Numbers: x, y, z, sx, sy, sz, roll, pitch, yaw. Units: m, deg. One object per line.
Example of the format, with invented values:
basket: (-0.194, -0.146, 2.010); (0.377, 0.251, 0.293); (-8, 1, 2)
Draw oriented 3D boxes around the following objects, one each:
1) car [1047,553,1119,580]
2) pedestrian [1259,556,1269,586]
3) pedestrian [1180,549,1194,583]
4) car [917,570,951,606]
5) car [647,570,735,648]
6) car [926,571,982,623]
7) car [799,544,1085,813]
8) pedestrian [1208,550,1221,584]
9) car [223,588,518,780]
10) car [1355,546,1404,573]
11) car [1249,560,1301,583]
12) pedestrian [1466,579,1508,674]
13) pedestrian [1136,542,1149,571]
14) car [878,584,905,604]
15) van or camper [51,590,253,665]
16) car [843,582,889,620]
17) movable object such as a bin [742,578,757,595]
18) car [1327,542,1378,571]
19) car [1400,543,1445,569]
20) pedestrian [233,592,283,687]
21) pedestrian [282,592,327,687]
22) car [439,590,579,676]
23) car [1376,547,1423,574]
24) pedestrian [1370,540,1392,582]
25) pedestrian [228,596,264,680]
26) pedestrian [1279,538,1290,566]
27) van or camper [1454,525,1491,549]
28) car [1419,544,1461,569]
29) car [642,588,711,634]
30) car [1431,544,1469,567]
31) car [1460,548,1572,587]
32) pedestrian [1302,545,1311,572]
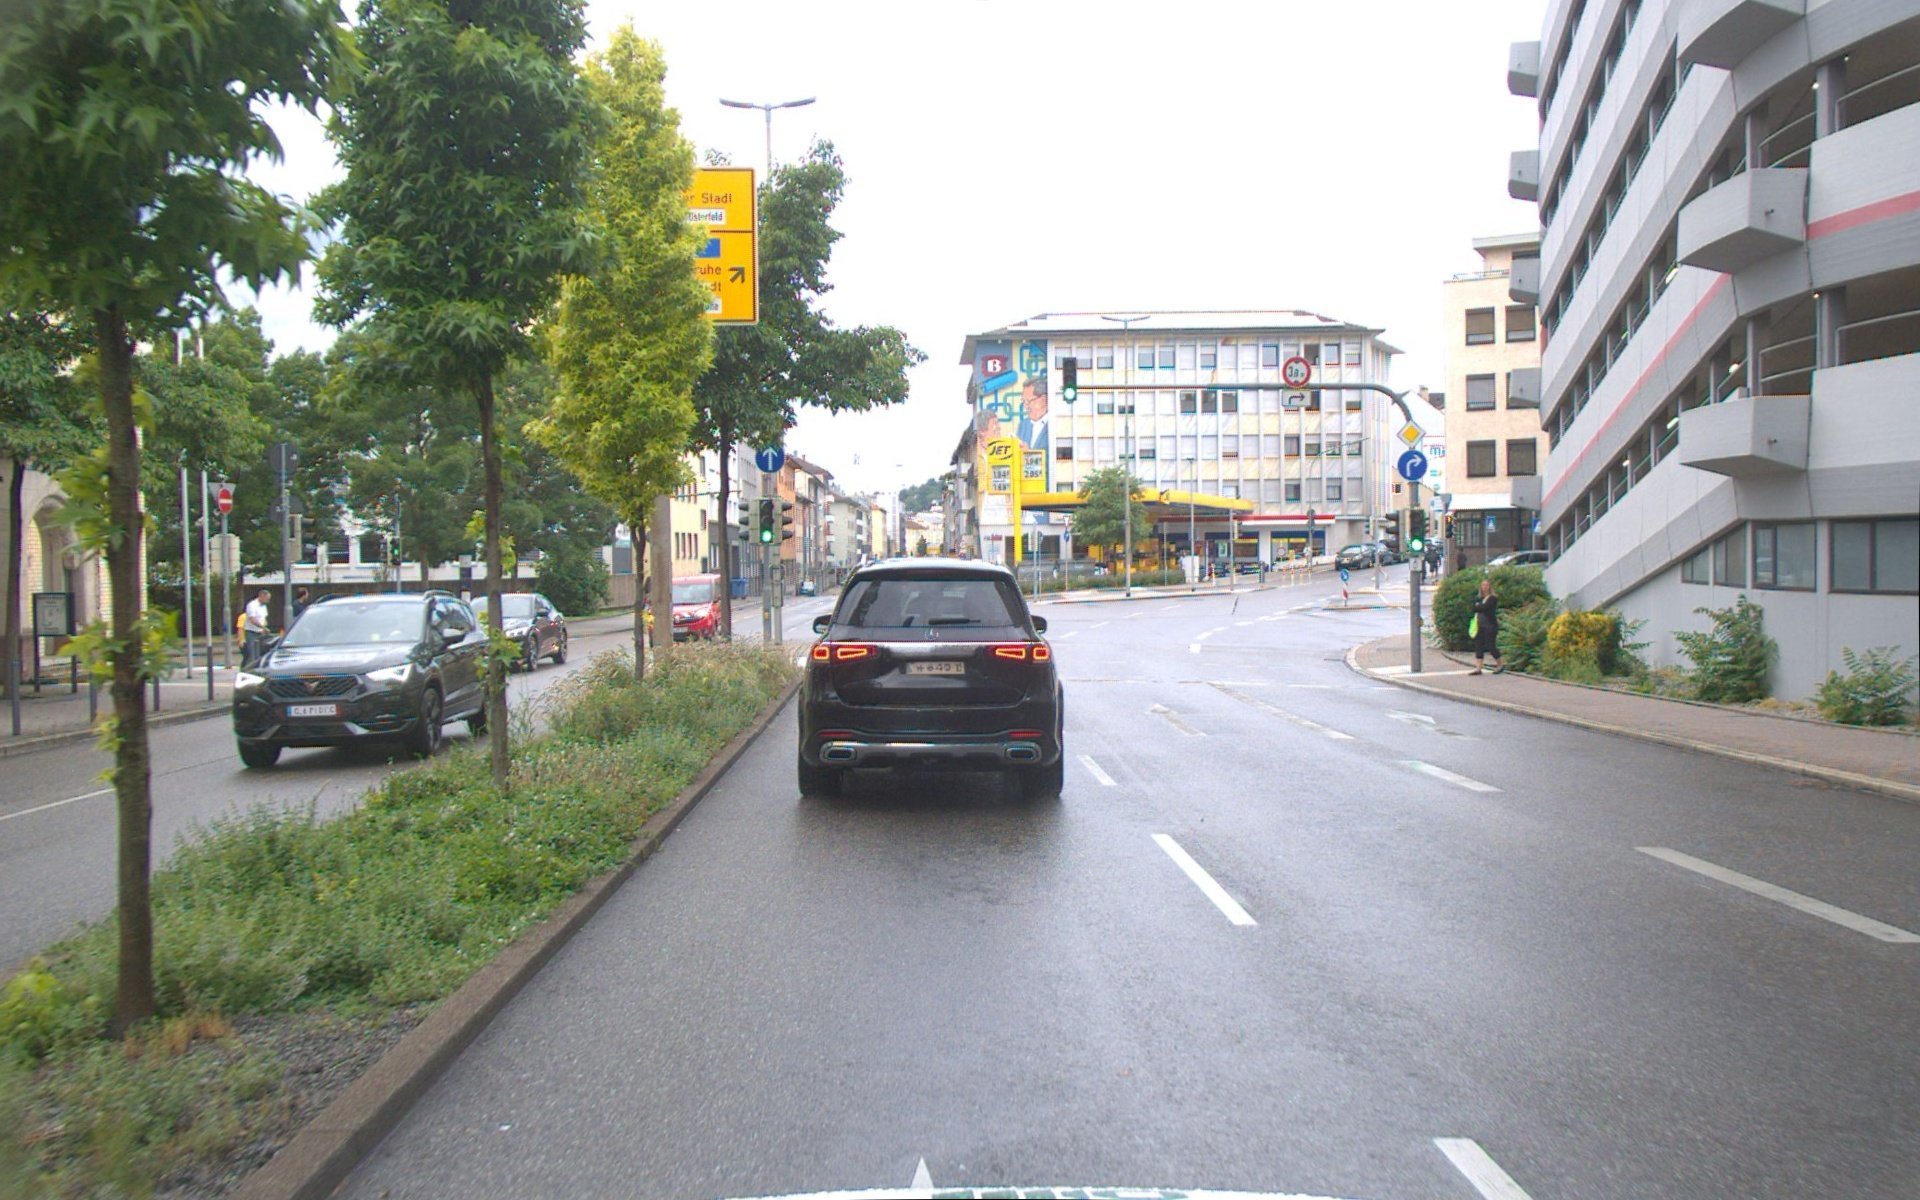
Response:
car: (6.940, -1.884, 93.556); (1.724, 1.400, 3.934); (-2, 1, -44)
pedestrian: (14.461, -1.390, 78.673); (0.388, 1.424, 0.446); (1, -1, 0)
pedestrian: (11.939, -1.801, 86.851); (0.515, 1.757, 0.689); (-1, 0, 26)
car: (-1.564, -0.696, 97.979); (1.953, 2.049, 3.998); (1, -1, -2)
car: (-7.147, 0.232, 44.375); (1.757, 1.886, 4.789); (-3, 0, -3)
car: (-0.243, -0.091, 60.774); (1.953, 1.832, 3.999); (1, -1, -1)
car: (-0.158, 0.566, 13.428); (1.953, 1.832, 3.999); (1, -1, -1)
pedestrian: (13.159, -1.692, 85.492); (0.560, 1.727, 0.631); (1, -1, 0)
car: (-5.947, 0.758, 17.229); (1.698, 1.654, 4.228); (-3, 0, -4)
car: (27.493, -2.663, 108.342); (1.958, 1.735, 3.990); (-1, 1, 32)
car: (21.606, -1.943, 113.262); (1.961, 1.422, 3.982); (0, -1, 37)
pedestrian: (9.706, 0.487, 30.463); (0.634, 1.740, 0.470); (0, -2, 35)
pedestrian: (11.163, -2.636, 101.220); (0.516, 1.757, 0.688); (-1, 1, 28)
car: (-5.560, -0.478, 135.054); (1.952, 1.574, 4.190); (1, -1, 1)
van or camper: (-22.724, 0.754, 46.668); (4.642, 1.965, 2.022); (-1, 1, -2)
car: (-4.188, 0.057, 74.211); (1.953, 1.642, 4.188); (1, -1, -2)
movable object such as a bin: (-13.457, -0.893, 105.746); (0.891, 1.056, 0.844); (1, -1, 0)
car: (24.710, -2.758, 104.021); (1.958, 1.735, 3.990); (-1, 1, 32)
car: (32.924, -3.128, 117.699); (1.958, 1.735, 3.990); (-1, 1, 32)
pedestrian: (-12.801, 0.715, 30.177); (0.599, 1.685, 0.691); (-1, 1, -4)
pedestrian: (-12.710, 0.752, 32.081); (0.675, 1.788, 0.716); (-1, 0, -12)
car: (-9.529, 0.660, 35.316); (1.851, 1.614, 4.534); (-3, 0, -3)
car: (29.959, -2.708, 112.605); (1.958, 1.735, 3.990); (-1, 1, 32)
pedestrian: (22.329, -2.066, 87.753); (0.838, 2.165, 0.947); (-2, 0, -7)
pedestrian: (-13.587, 0.719, 31.475); (0.430, 1.560, 0.545); (-1, 1, -3)
pedestrian: (20.019, -2.957, 102.098); (0.515, 1.757, 0.689); (-1, 0, 26)
van or camper: (45.455, -5.550, 146.641); (1.958, 2.013, 4.502); (-1, 1, 32)
car: (35.541, -3.214, 122.328); (1.958, 1.735, 3.990); (-1, 1, 32)
car: (-10.278, 0.379, 60.162); (1.809, 1.454, 4.434); (-3, 1, -2)
car: (39.439, -3.585, 133.078); (1.958, 1.735, 3.990); (-1, 1, 32)
car: (23.212, -1.353, 69.203); (4.095, 1.465, 1.860); (-2, 1, 5)
pedestrian: (21.517, -2.578, 102.686); (0.474, 1.669, 0.438); (0, -1, 27)
